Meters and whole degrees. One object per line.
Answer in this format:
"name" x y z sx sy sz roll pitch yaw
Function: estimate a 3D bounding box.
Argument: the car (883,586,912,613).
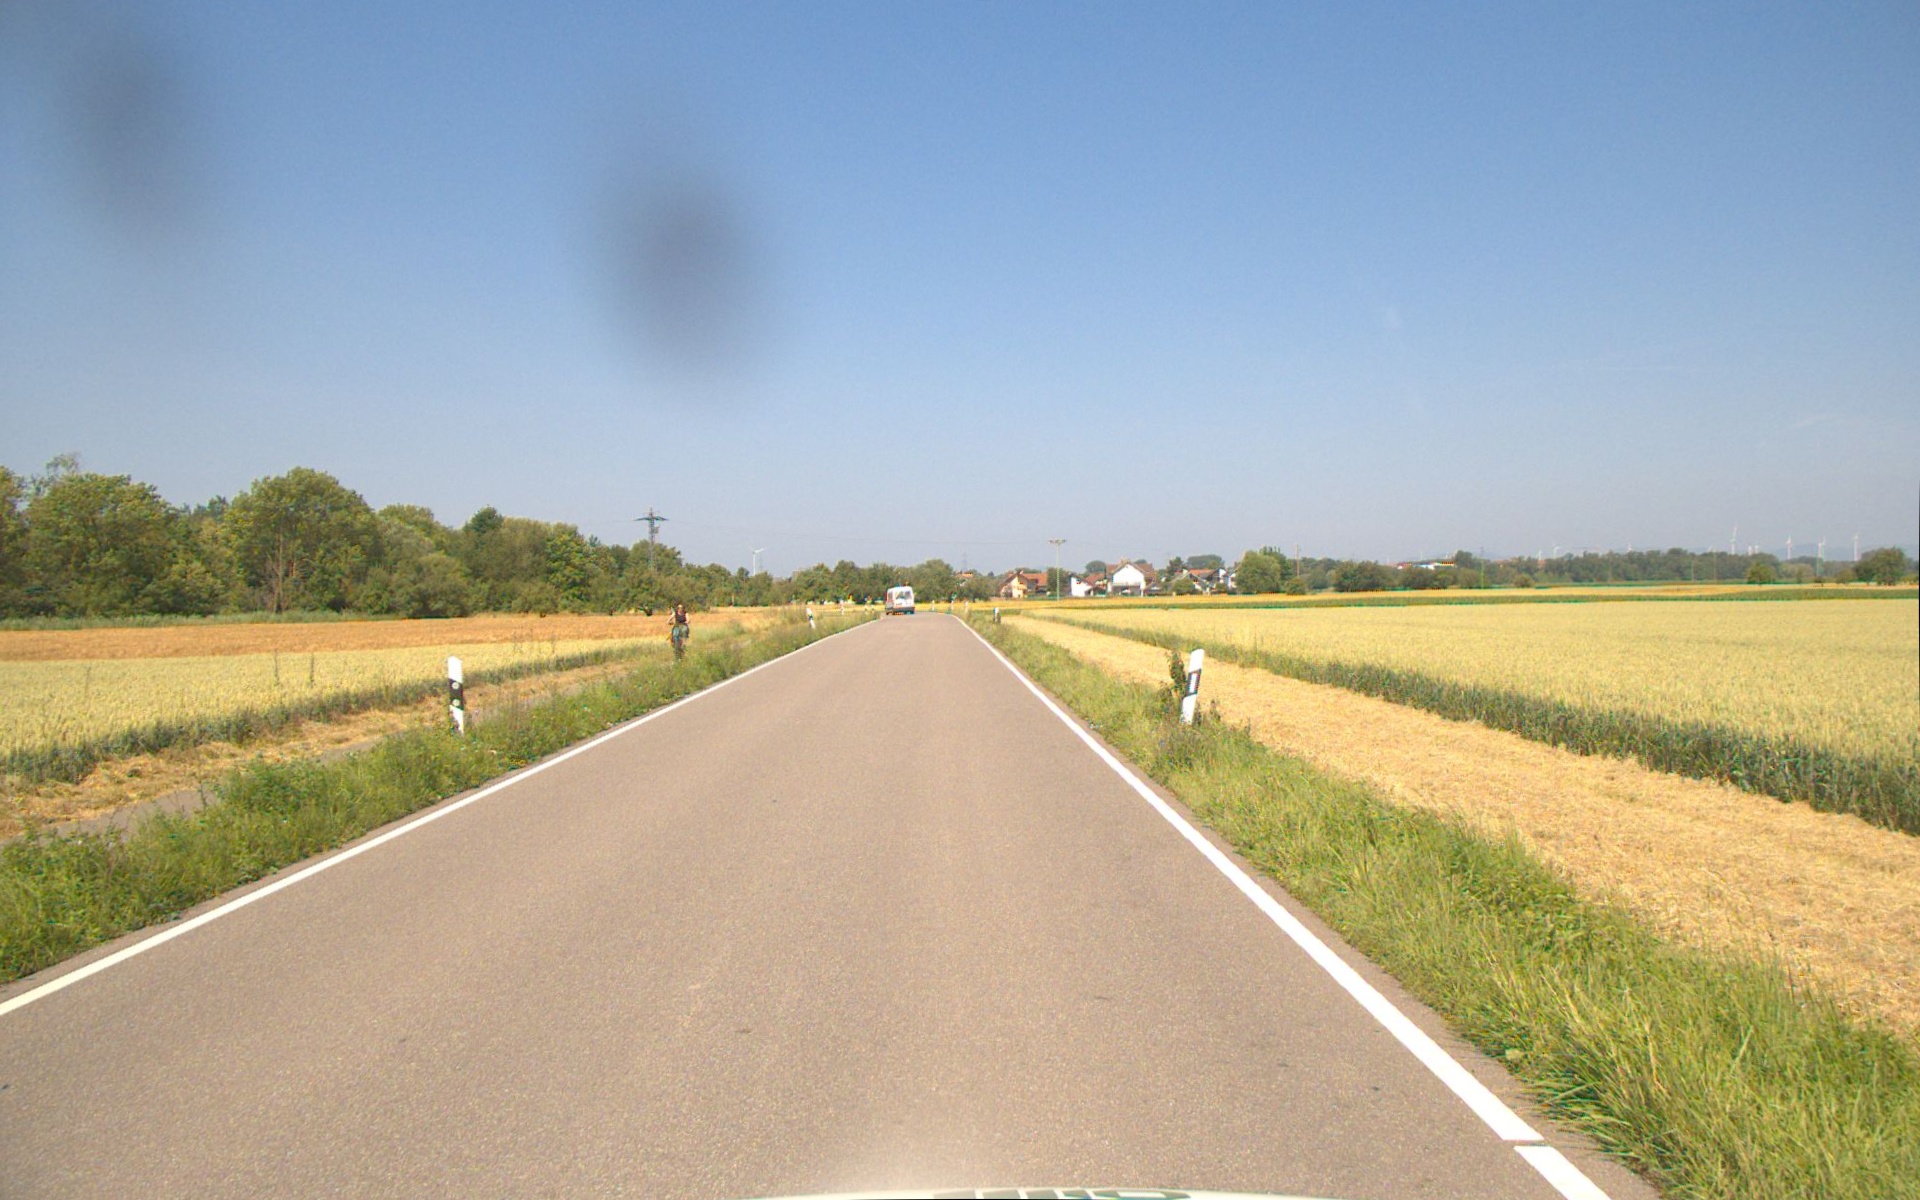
"car" -5.751 -0.044 151.993 2.068 2.344 5.484 1 0 -9

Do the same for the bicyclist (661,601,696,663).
"bicyclist" -7.985 0.893 46.965 0.744 1.702 1.088 -2 0 -1

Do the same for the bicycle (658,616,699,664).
"bicycle" -7.988 1.114 47.065 0.744 1.257 2.393 -3 0 -1
